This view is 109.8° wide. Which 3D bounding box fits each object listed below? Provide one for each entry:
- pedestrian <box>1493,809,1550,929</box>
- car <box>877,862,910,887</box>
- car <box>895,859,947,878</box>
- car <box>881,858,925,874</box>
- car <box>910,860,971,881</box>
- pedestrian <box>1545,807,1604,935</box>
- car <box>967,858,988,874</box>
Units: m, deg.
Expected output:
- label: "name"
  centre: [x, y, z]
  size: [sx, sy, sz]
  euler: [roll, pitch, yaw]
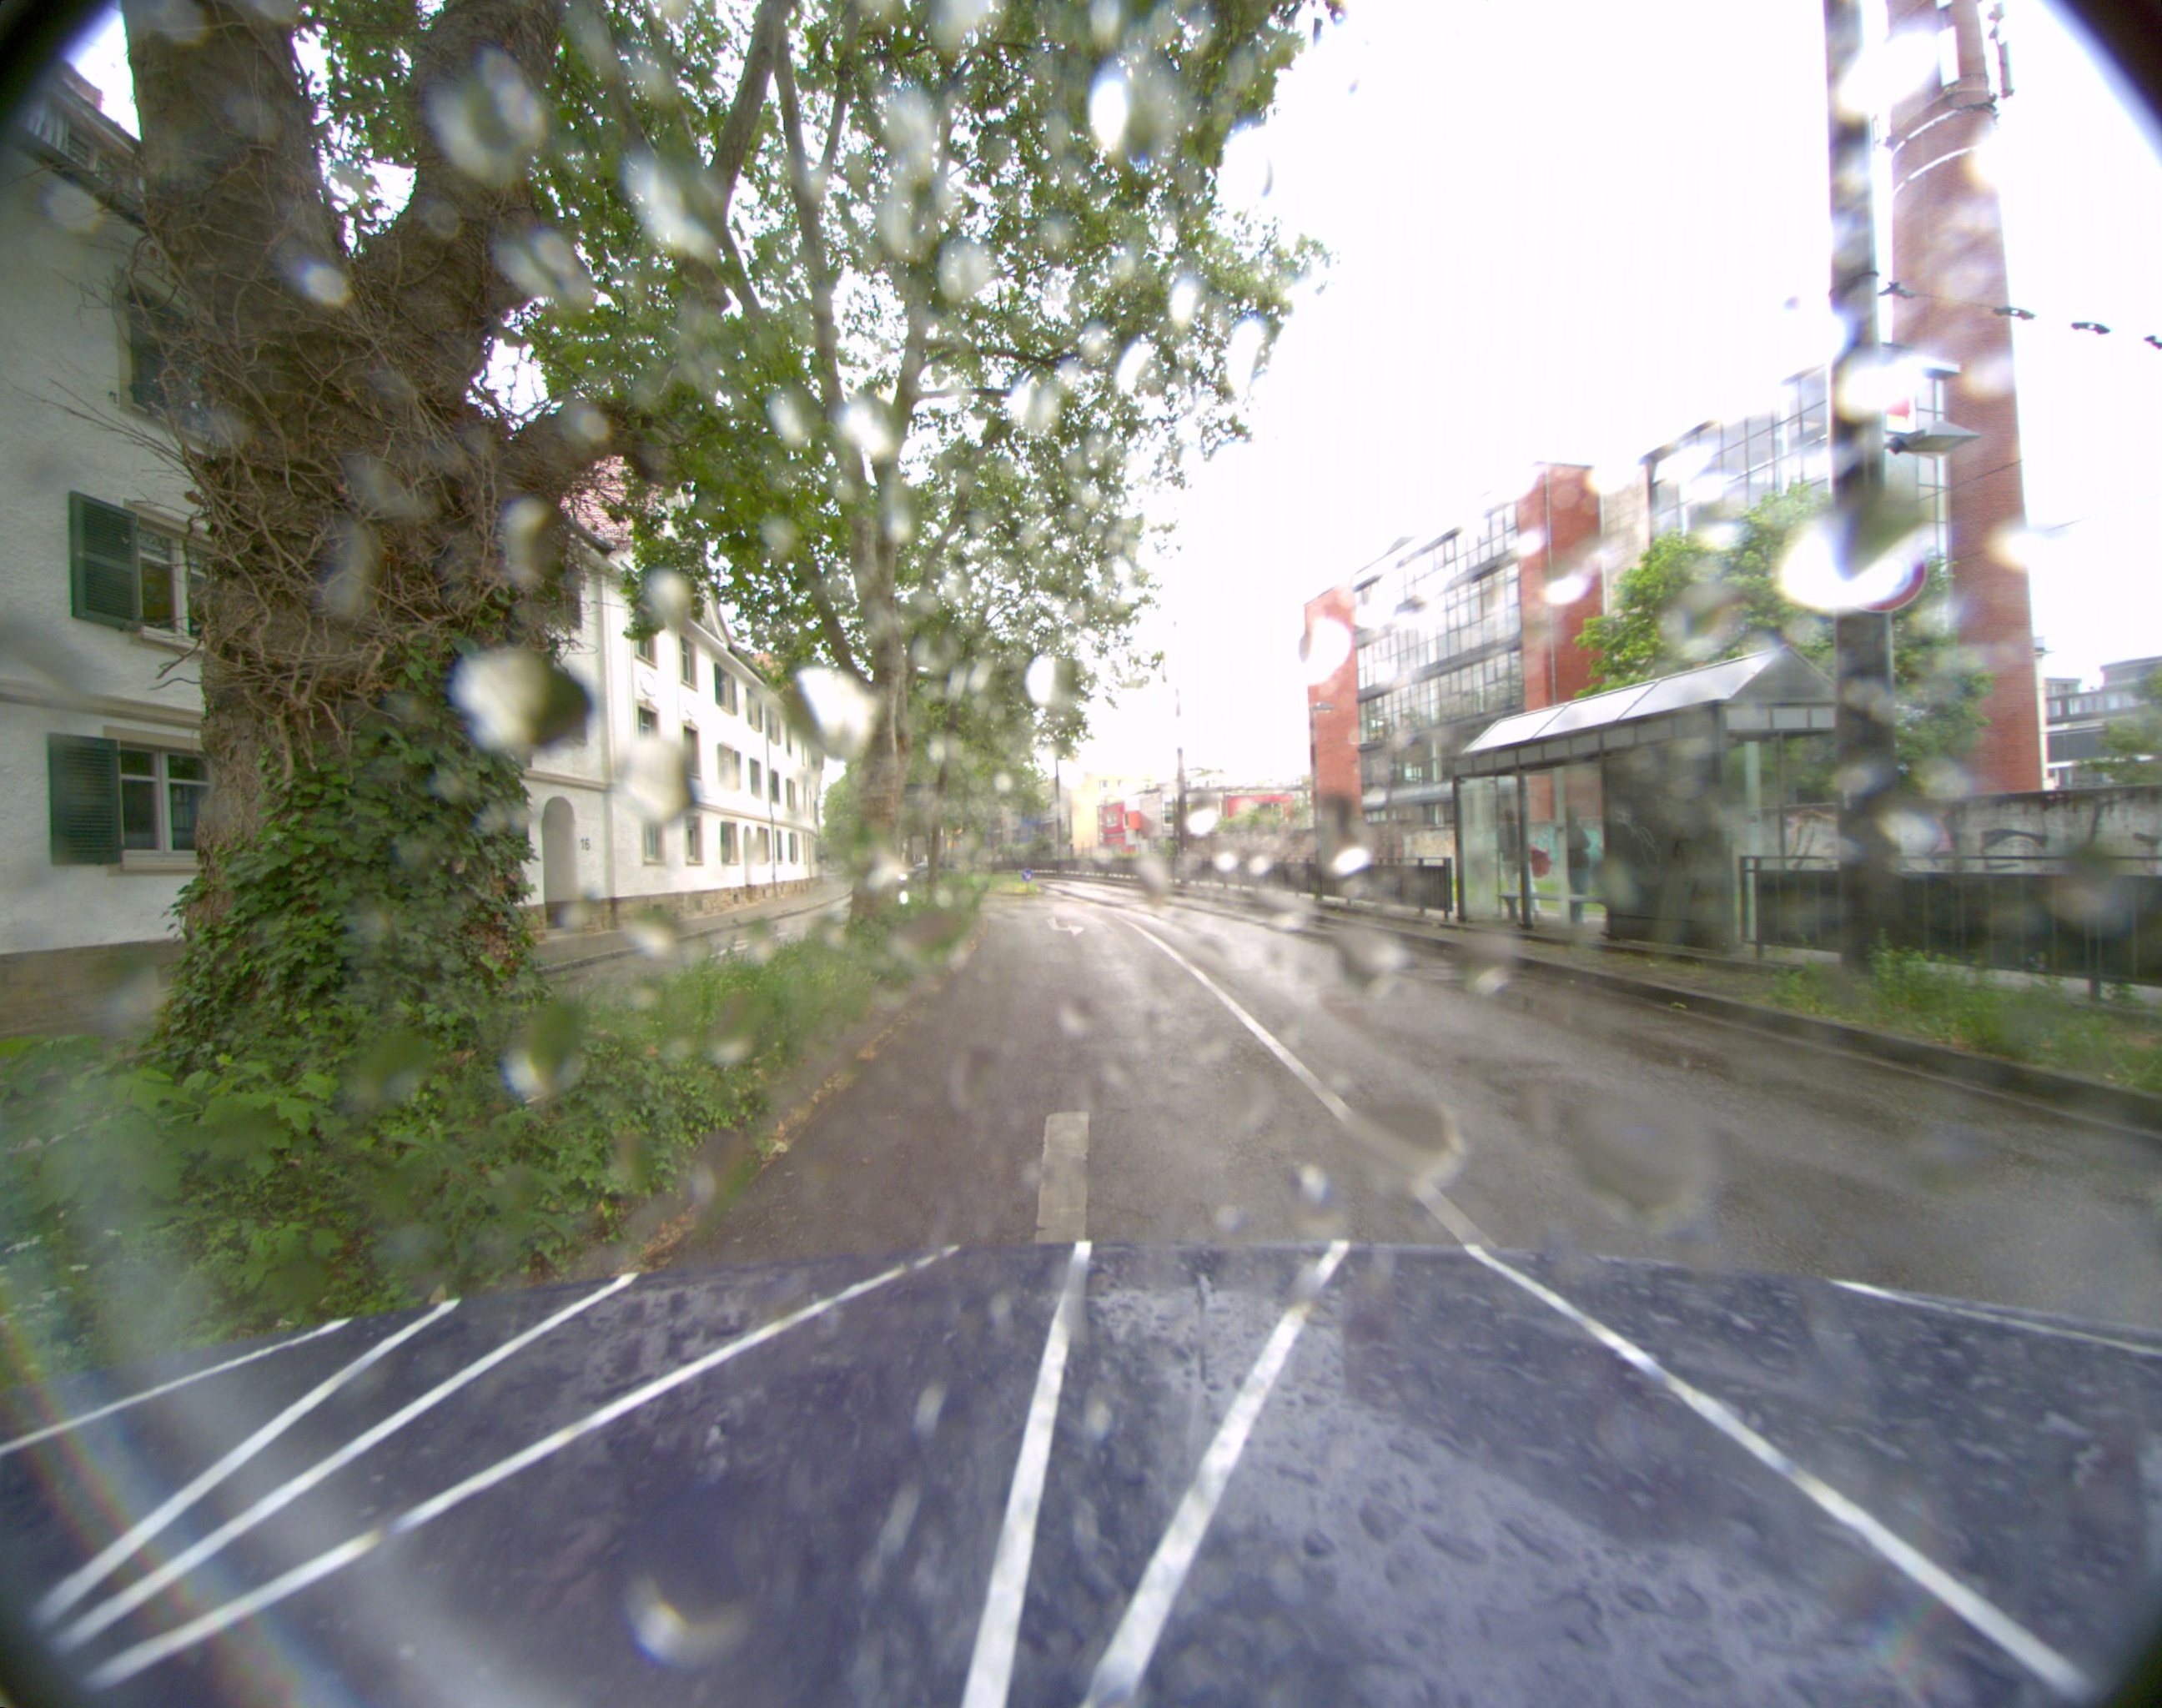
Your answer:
- label: "pedestrian"
  centre: [6.553, 0.215, 11.293]
  size: [0.584, 1.721, 0.566]
  euler: [-1, 1, -41]
- label: "car"
  centre: [-12.678, 1.344, 51.120]
  size: [1.853, 1.586, 4.210]
  euler: [-2, 0, -17]
- label: "car"
  centre: [-14.781, 1.330, 70.256]
  size: [4.328, 1.603, 1.749]
  euler: [-1, 0, 6]
- label: "car"
  centre: [-22.190, 1.506, 94.874]
  size: [4.884, 2.002, 2.002]
  euler: [-1, 0, 11]
- label: "car"
  centre: [-10.875, 1.273, 58.969]
  size: [4.224, 1.532, 1.932]
  euler: [-1, 0, 11]
- label: "pedestrian"
  centre: [6.891, 0.227, 10.604]
  size: [0.584, 1.721, 0.566]
  euler: [-1, 1, -43]
- label: "car"
  centre: [-11.873, 1.349, 87.101]
  size: [1.694, 1.713, 3.685]
  euler: [-1, 0, -20]
